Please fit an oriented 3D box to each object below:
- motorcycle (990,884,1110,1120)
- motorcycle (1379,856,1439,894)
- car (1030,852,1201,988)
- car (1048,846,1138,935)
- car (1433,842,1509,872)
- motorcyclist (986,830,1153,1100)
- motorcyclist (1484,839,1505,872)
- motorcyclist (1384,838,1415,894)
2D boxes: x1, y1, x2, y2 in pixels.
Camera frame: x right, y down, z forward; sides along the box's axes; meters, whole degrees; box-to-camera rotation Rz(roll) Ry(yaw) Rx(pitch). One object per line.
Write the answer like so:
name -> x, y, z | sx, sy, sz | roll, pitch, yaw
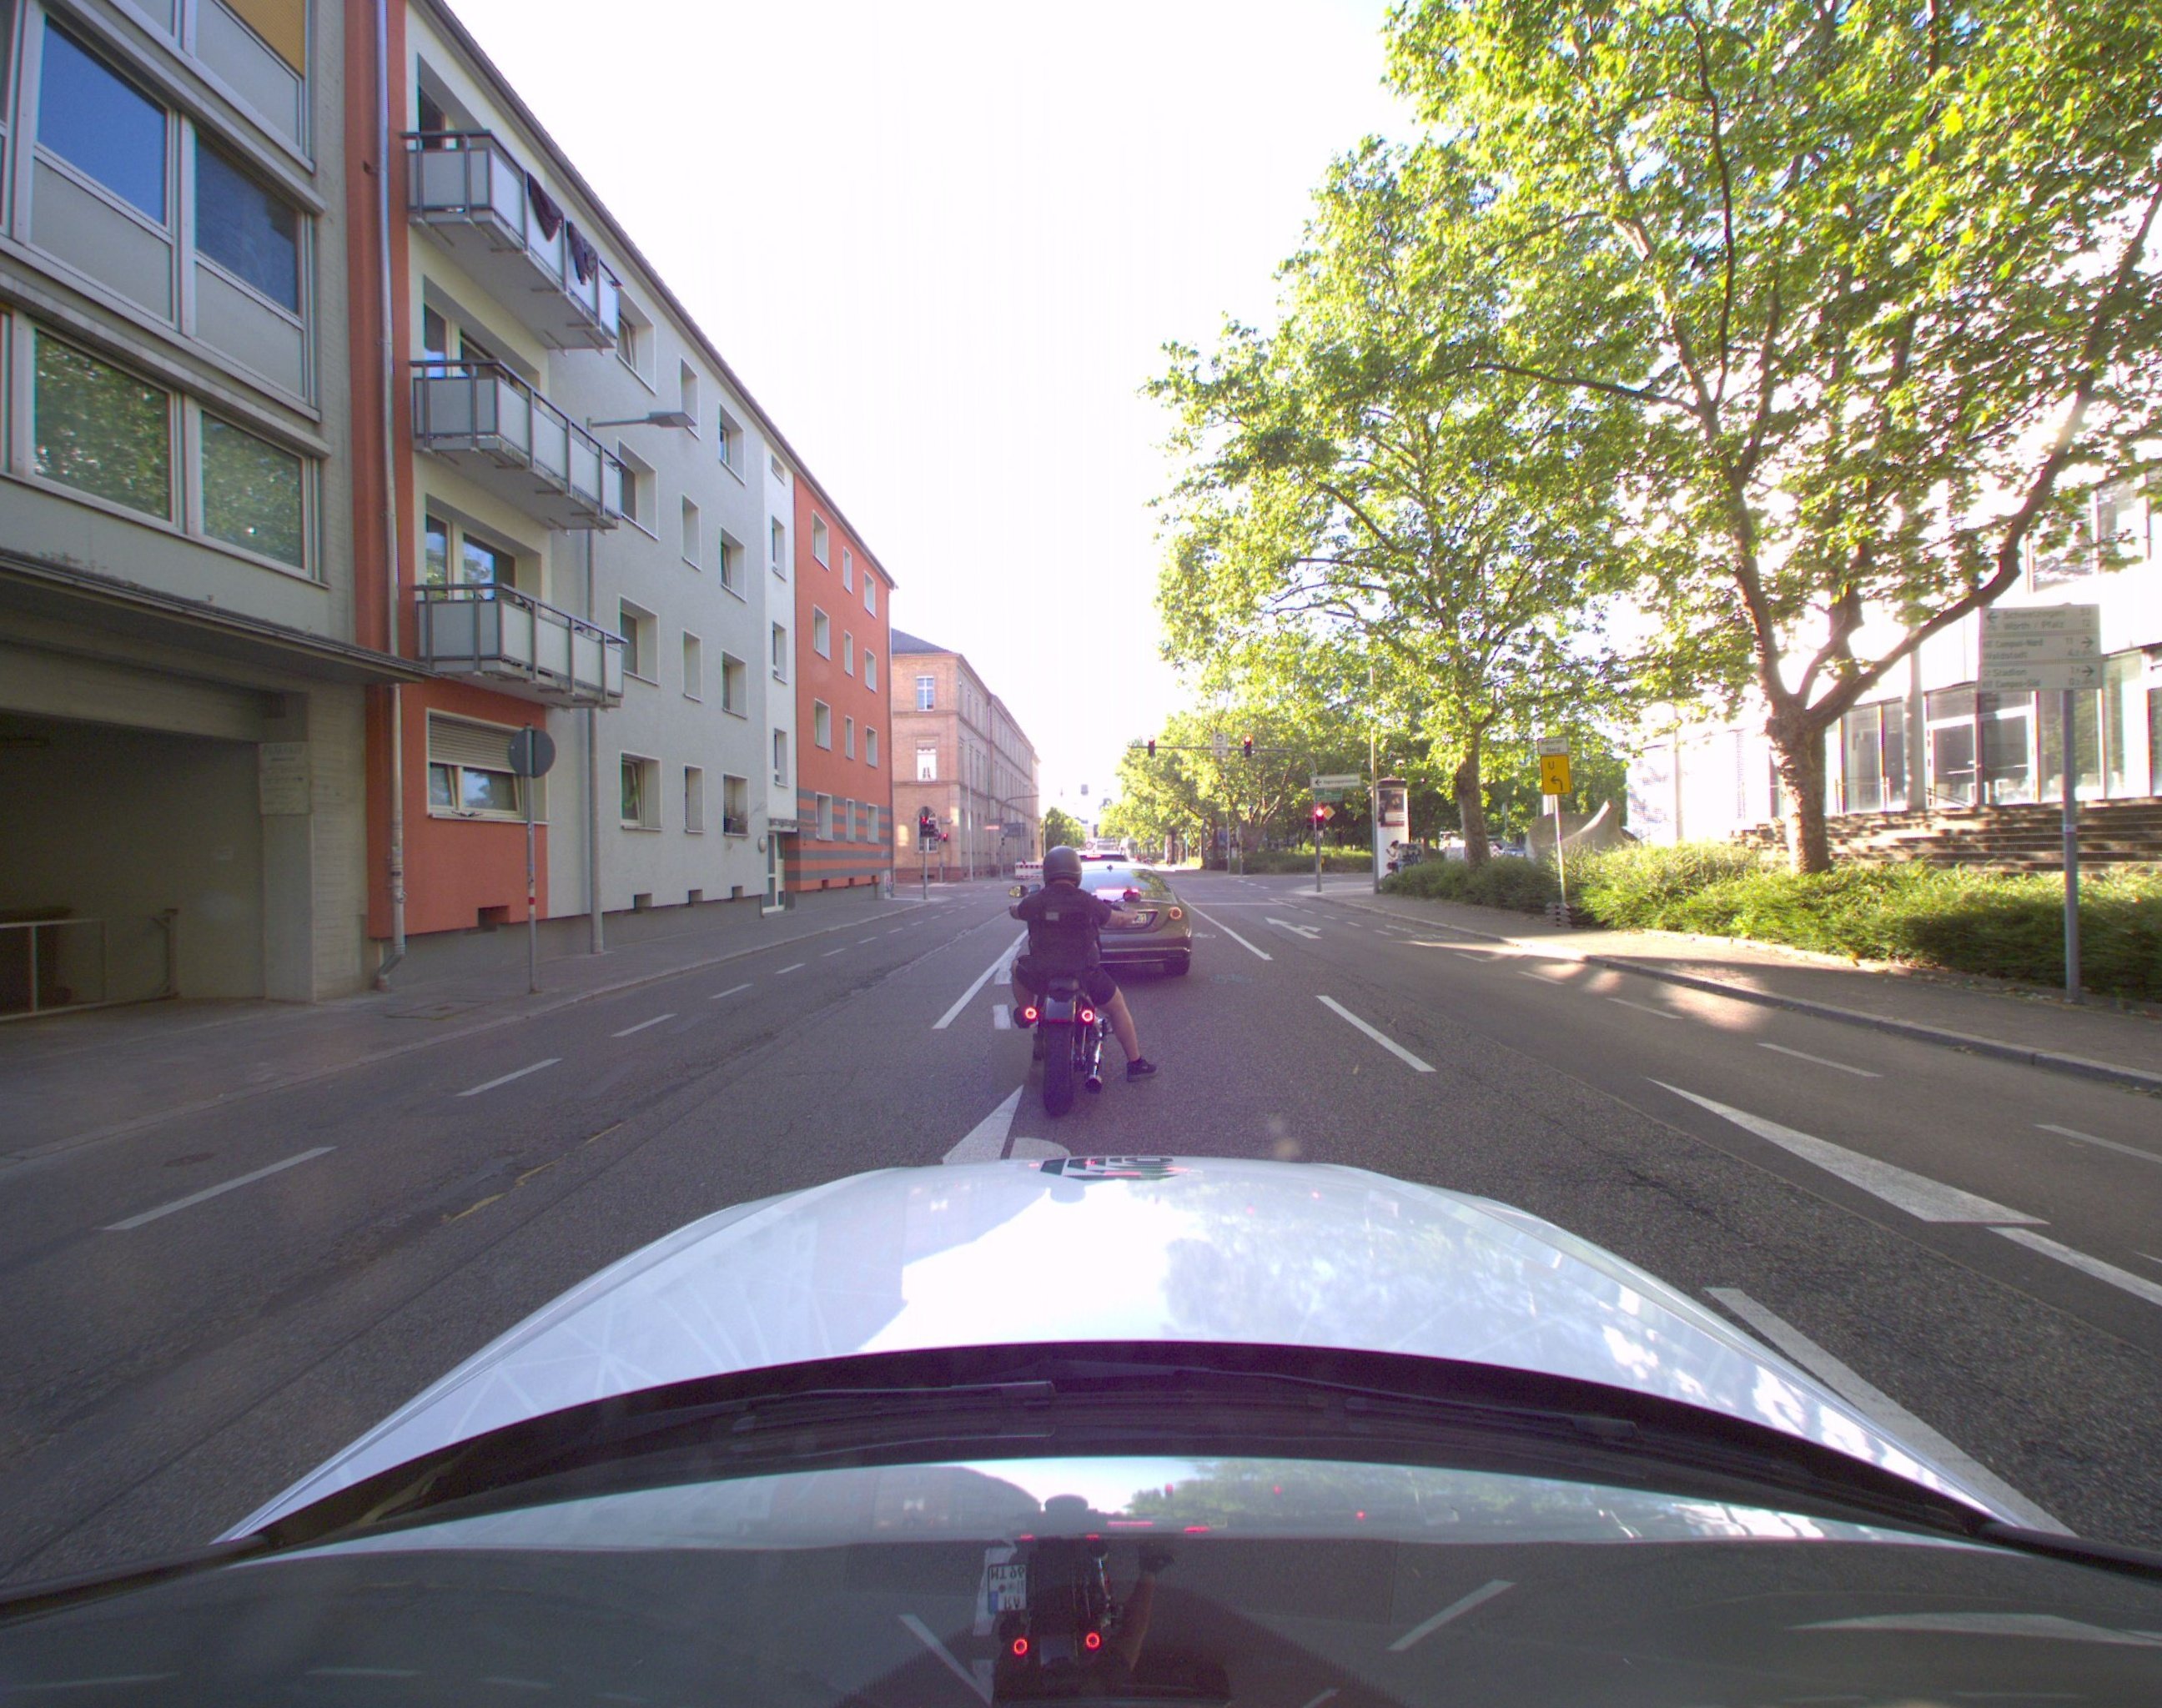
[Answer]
motorcycle -> -0.140, 0.859, 5.536 | 0.657, 1.240, 2.058 | 0, -1, 2
motorcycle -> 11.074, 0.712, 27.539 | 1.771, 1.243, 0.724 | 0, -1, 7
car -> 0.263, 0.746, 11.239 | 1.821, 1.486, 4.325 | 0, -1, -5
car -> 0.288, 0.691, 17.090 | 1.645, 1.652, 4.002 | 0, -1, 2
car -> 24.633, 0.205, 51.517 | 3.974, 1.772, 1.738 | -1, 0, -1
motorcyclist -> -0.052, 0.672, 5.444 | 0.986, 1.611, 1.121 | 0, -1, 1
motorcyclist -> 24.079, 0.069, 47.384 | 0.978, 1.876, 0.377 | -1, -1, 6
motorcyclist -> 10.770, 0.394, 27.563 | 0.818, 1.863, 0.673 | 0, -1, 7
